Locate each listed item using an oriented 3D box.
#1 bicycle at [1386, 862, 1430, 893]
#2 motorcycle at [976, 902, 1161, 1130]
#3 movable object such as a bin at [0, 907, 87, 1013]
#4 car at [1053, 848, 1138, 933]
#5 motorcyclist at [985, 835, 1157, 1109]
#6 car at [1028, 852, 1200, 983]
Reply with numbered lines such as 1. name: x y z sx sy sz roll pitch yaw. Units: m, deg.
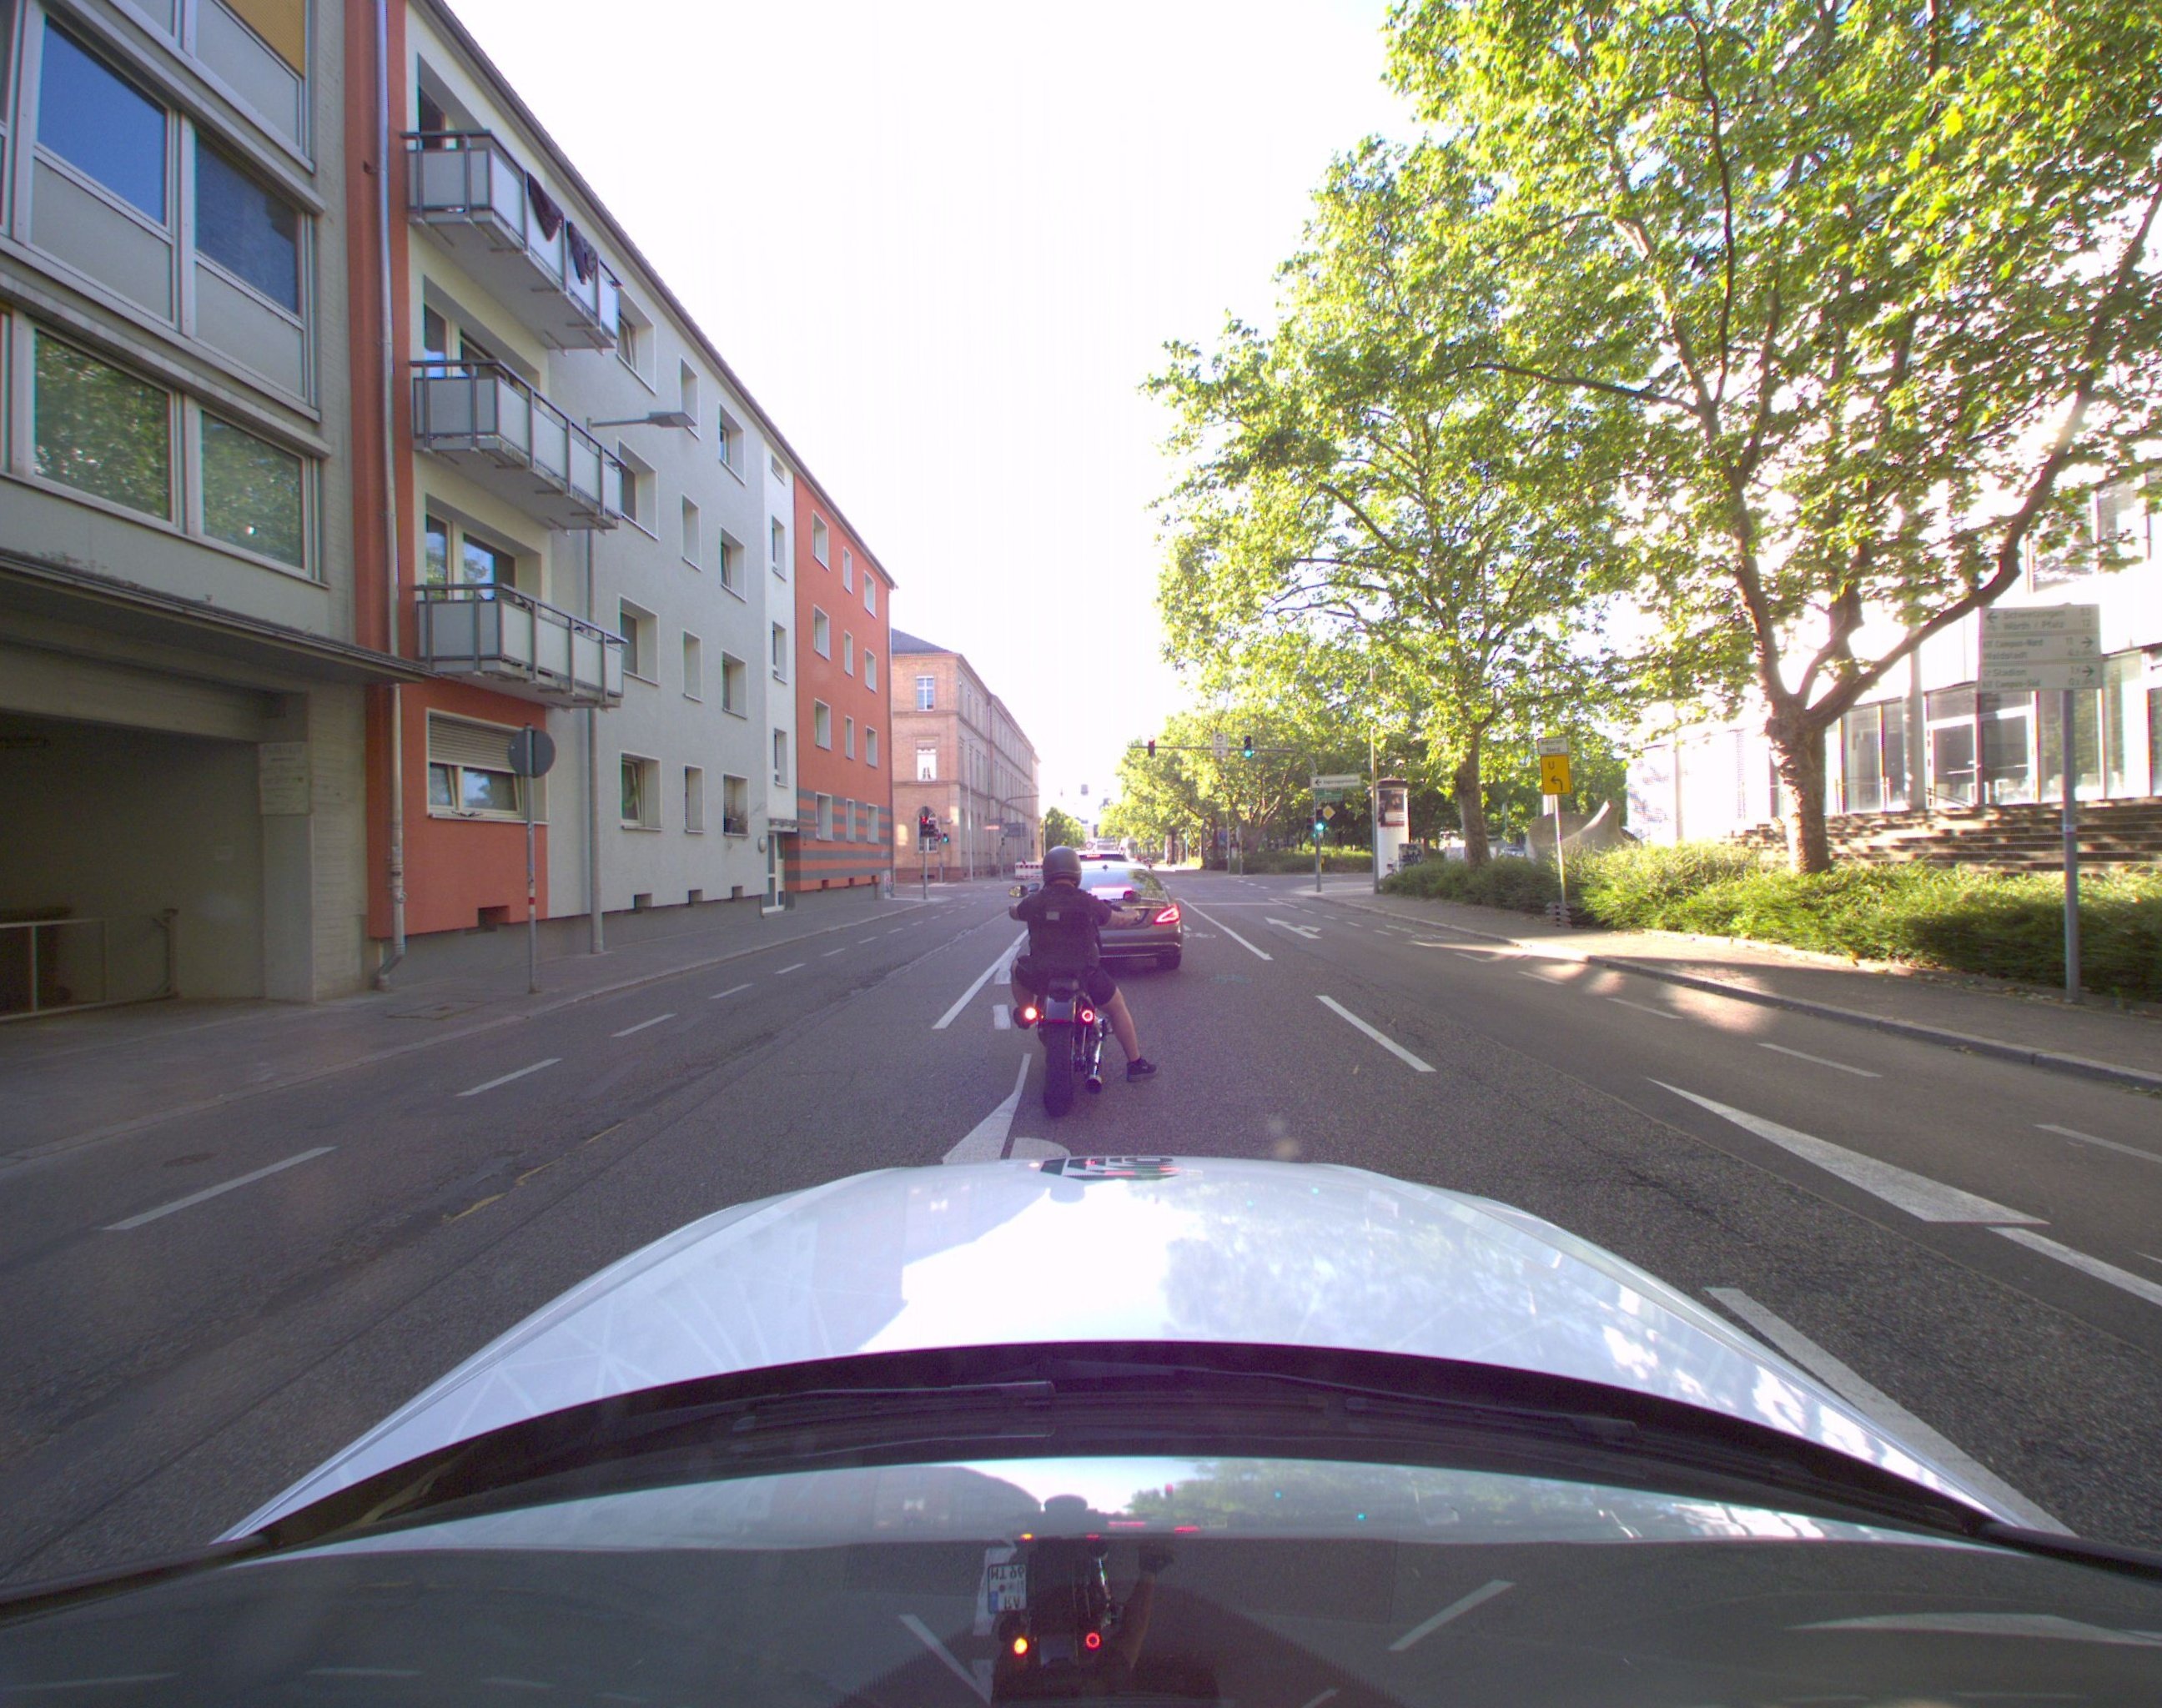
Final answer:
1. bicycle: 11.036 0.791 27.504 1.346 1.023 0.363 -1 0 2
2. motorcycle: -0.031 0.956 5.670 0.986 1.078 2.453 -1 0 2
3. movable object such as a bin: -11.320 1.112 8.671 0.593 1.041 0.703 0 -1 1
4. car: 0.317 0.704 17.878 1.606 1.607 4.329 -1 0 1
5. motorcyclist: -0.040 0.697 5.516 0.986 1.597 1.404 -1 0 2
6. car: 0.253 0.741 11.708 1.943 1.473 4.355 -1 0 -5
